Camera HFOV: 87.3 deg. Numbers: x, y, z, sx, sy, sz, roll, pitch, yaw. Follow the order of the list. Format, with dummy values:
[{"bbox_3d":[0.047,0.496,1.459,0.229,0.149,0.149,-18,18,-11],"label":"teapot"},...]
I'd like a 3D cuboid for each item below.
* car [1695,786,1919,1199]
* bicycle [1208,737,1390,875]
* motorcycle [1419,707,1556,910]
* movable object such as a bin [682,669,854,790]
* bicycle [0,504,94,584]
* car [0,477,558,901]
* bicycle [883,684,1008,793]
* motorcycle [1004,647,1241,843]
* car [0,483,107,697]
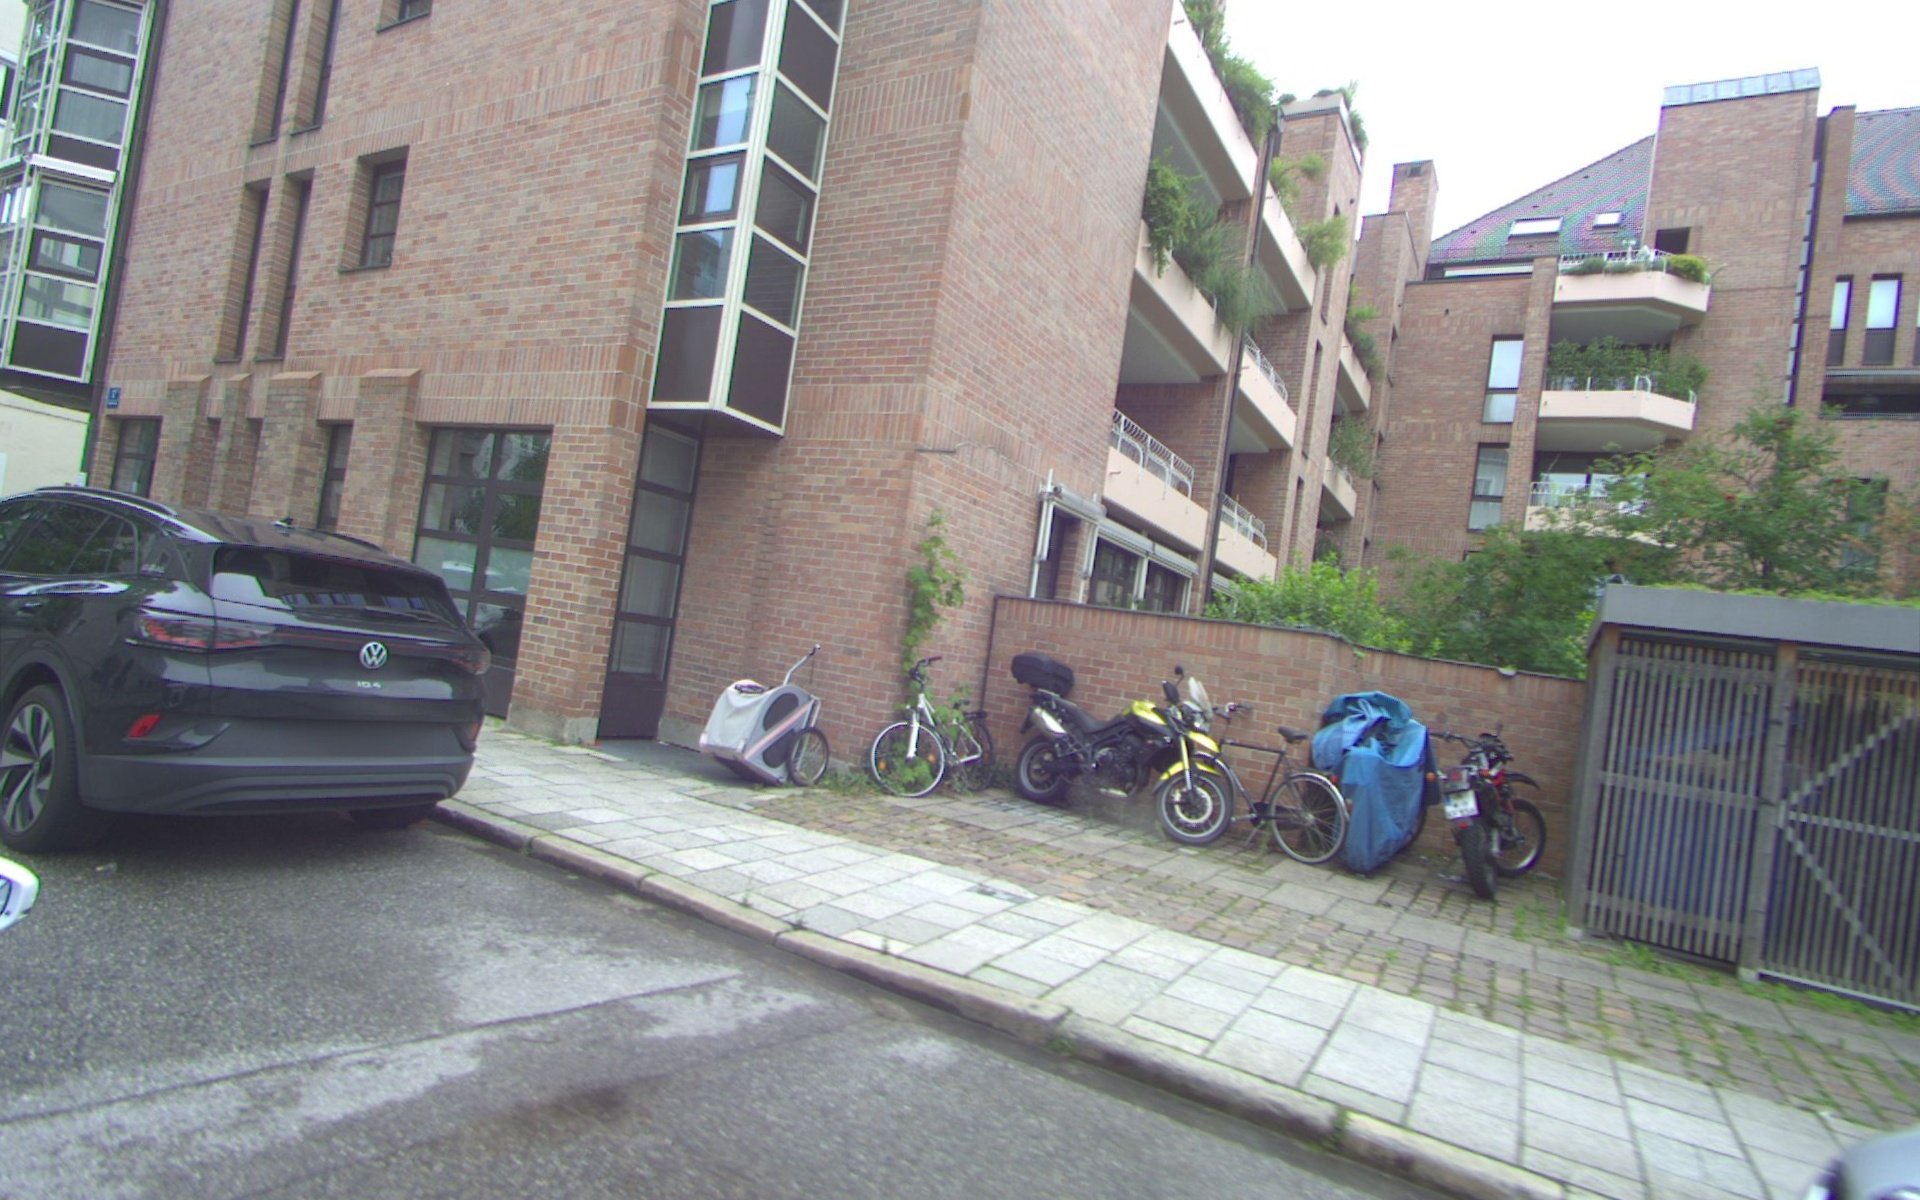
[{"bbox_3d":[3.562,1.347,0.816,4.523,1.432,1.842,7,-3,30],"label":"car"},{"bbox_3d":[2.797,1.674,8.358,1.299,0.869,0.375,6,-2,35],"label":"bicycle"},{"bbox_3d":[4.409,1.633,8.293,0.542,1.358,2.517,7,-2,36],"label":"motorcycle"},{"bbox_3d":[-1.612,1.090,8.550,0.830,0.841,1.089,7,-2,32],"label":"movable object such as a bin"},{"bbox_3d":[-16.093,-0.982,17.535,1.524,1.172,0.380,9,-2,2],"label":"bicycle"},{"bbox_3d":[-4.647,0.260,5.760,4.316,1.572,1.892,7,-3,29],"label":"car"},{"bbox_3d":[-0.101,1.242,9.130,0.407,0.869,1.319,7,-2,31],"label":"bicycle"},{"bbox_3d":[1.364,1.203,8.772,1.914,1.360,0.539,6,-2,43],"label":"motorcycle"},{"bbox_3d":[-9.251,-0.294,8.472,3.814,1.654,1.726,7,-2,28],"label":"car"}]
